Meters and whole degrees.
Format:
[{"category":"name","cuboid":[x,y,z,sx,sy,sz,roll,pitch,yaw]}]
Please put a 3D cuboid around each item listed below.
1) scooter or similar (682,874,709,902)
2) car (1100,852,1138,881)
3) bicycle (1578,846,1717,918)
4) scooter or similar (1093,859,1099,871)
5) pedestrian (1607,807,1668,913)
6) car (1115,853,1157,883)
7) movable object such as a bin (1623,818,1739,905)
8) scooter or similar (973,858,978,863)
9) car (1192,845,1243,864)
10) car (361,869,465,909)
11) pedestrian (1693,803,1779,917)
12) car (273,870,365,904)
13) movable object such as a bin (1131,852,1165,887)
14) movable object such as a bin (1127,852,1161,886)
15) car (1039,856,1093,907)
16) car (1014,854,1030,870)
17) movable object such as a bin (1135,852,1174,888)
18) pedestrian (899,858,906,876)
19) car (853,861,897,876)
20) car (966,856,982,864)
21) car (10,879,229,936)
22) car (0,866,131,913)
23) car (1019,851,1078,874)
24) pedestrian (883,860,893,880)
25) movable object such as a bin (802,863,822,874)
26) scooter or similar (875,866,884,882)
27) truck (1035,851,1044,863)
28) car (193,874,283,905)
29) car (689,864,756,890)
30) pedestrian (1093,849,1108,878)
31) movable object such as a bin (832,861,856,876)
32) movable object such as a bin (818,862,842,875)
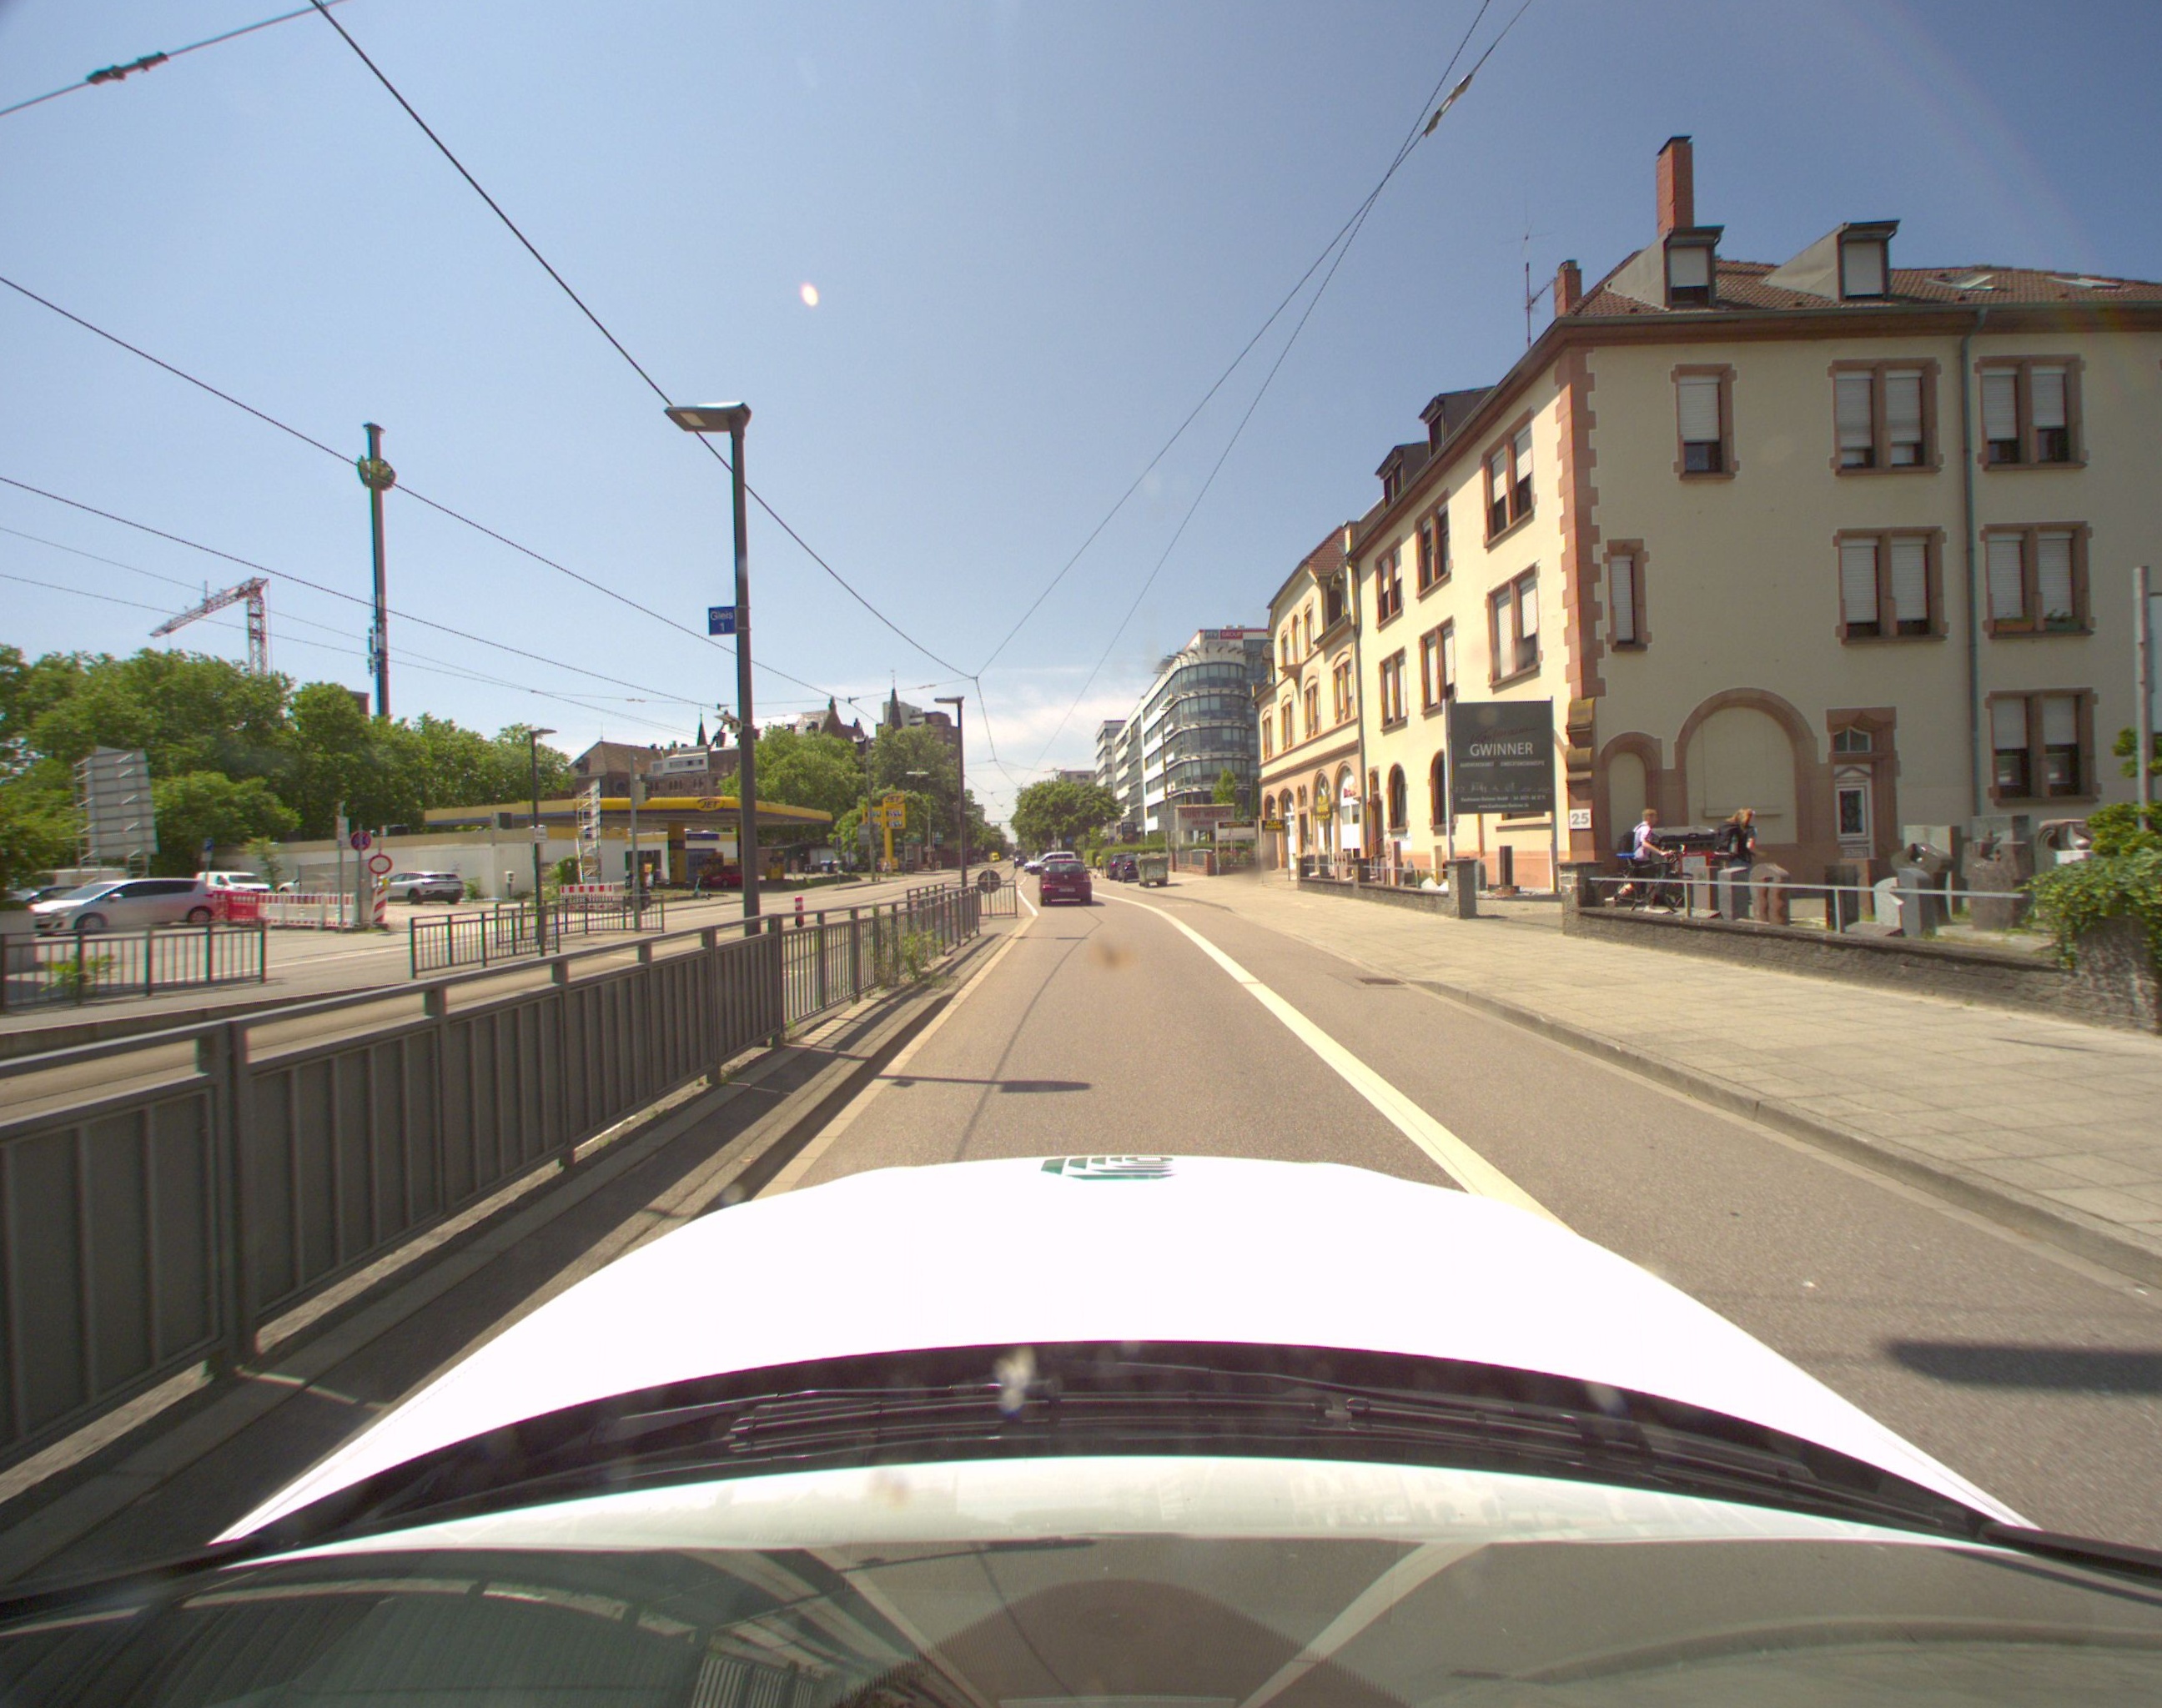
[{"category":"scooter or similar","cuboid":[-18.519,1.624,39.158,0.342,1.264,1.248,-1,0,21]},{"category":"car","cuboid":[2.465,0.779,53.578,1.920,1.693,5.076,-4,0,-3]},{"category":"bicycle","cuboid":[9.448,0.464,13.639,1.791,1.127,0.591,-2,0,9]},{"category":"scooter or similar","cuboid":[1.486,1.069,80.157,0.323,1.222,1.157,-1,0,17]},{"category":"pedestrian","cuboid":[9.551,0.100,13.997,0.683,1.772,0.505,-2,0,11]},{"category":"car","cuboid":[3.121,0.775,47.313,1.769,1.548,4.461,-4,0,-4]},{"category":"movable object such as a bin","cuboid":[11.206,0.132,15.265,1.324,1.499,1.047,-4,0,1]},{"category":"scooter or similar","cuboid":[-24.356,1.565,188.384,1.094,1.155,0.523,-1,0,-26]},{"category":"car","cuboid":[11.986,0.030,71.587,4.136,1.459,1.817,-2,0,-1]},{"category":"car","cuboid":[-31.776,1.633,38.759,4.229,1.746,1.901,-1,0,19]},{"category":"pedestrian","cuboid":[10.119,0.096,12.607,0.819,1.691,0.591,-2,0,11]},{"category":"car","cuboid":[-42.637,1.834,45.599,4.229,1.781,2.010,-1,0,19]},{"category":"movable object such as a bin","cuboid":[3.059,0.699,37.094,1.246,1.455,1.055,-4,0,-8]},{"category":"movable object such as a bin","cuboid":[2.958,0.696,38.160,1.322,1.455,1.055,-4,0,-8]},{"category":"car","cuboid":[-0.498,0.835,26.487,1.614,1.486,3.998,-1,0,-1]},{"category":"car","cuboid":[-7.716,1.067,106.272,1.991,2.013,3.991,-1,0,-6]},{"category":"movable object such as a bin","cuboid":[3.238,0.688,36.006,1.391,1.455,1.136,-4,0,-8]},{"category":"pedestrian","cuboid":[-17.358,1.280,79.040,0.579,1.775,0.698,-1,0,-8]},{"category":"car","cuboid":[-22.602,1.562,89.450,1.910,1.488,4.480,-1,0,35]},{"category":"car","cuboid":[-28.181,1.672,214.984,3.974,2.013,2.000,-2,0,-1]},{"category":"car","cuboid":[-29.382,1.585,25.099,1.722,1.468,4.009,-1,0,8]},{"category":"car","cuboid":[-45.606,1.530,35.772,1.721,1.905,4.827,-2,0,9]},{"category":"car","cuboid":[-2.712,0.697,67.901,4.555,1.799,1.986,-2,0,-21]},{"category":"pedestrian","cuboid":[-16.853,1.360,71.101,0.624,1.691,0.721,-2,0,-4]},{"category":"movable object such as a bin","cuboid":[-29.404,1.582,89.084,1.392,1.138,1.572,-1,0,20]},{"category":"scooter or similar","cuboid":[-15.627,1.578,63.208,0.518,1.200,1.373,-1,0,-7]},{"category":"truck","cuboid":[-9.840,0.656,192.742,1.990,2.662,4.867,-1,0,-4]},{"category":"car","cuboid":[-49.234,2.036,47.568,4.229,1.663,2.010,-1,0,19]},{"category":"car","cuboid":[-24.721,1.547,56.351,1.811,1.504,4.220,0,2,19]},{"category":"pedestrian","cuboid":[1.346,0.656,56.585,0.783,1.960,0.586,-2,0,-19]},{"category":"movable object such as a bin","cuboid":[-25.689,1.579,88.163,1.508,1.509,2.110,-1,0,20]},{"category":"movable object such as a bin","cuboid":[-27.303,1.557,88.726,1.508,1.432,2.110,-1,0,20]}]
